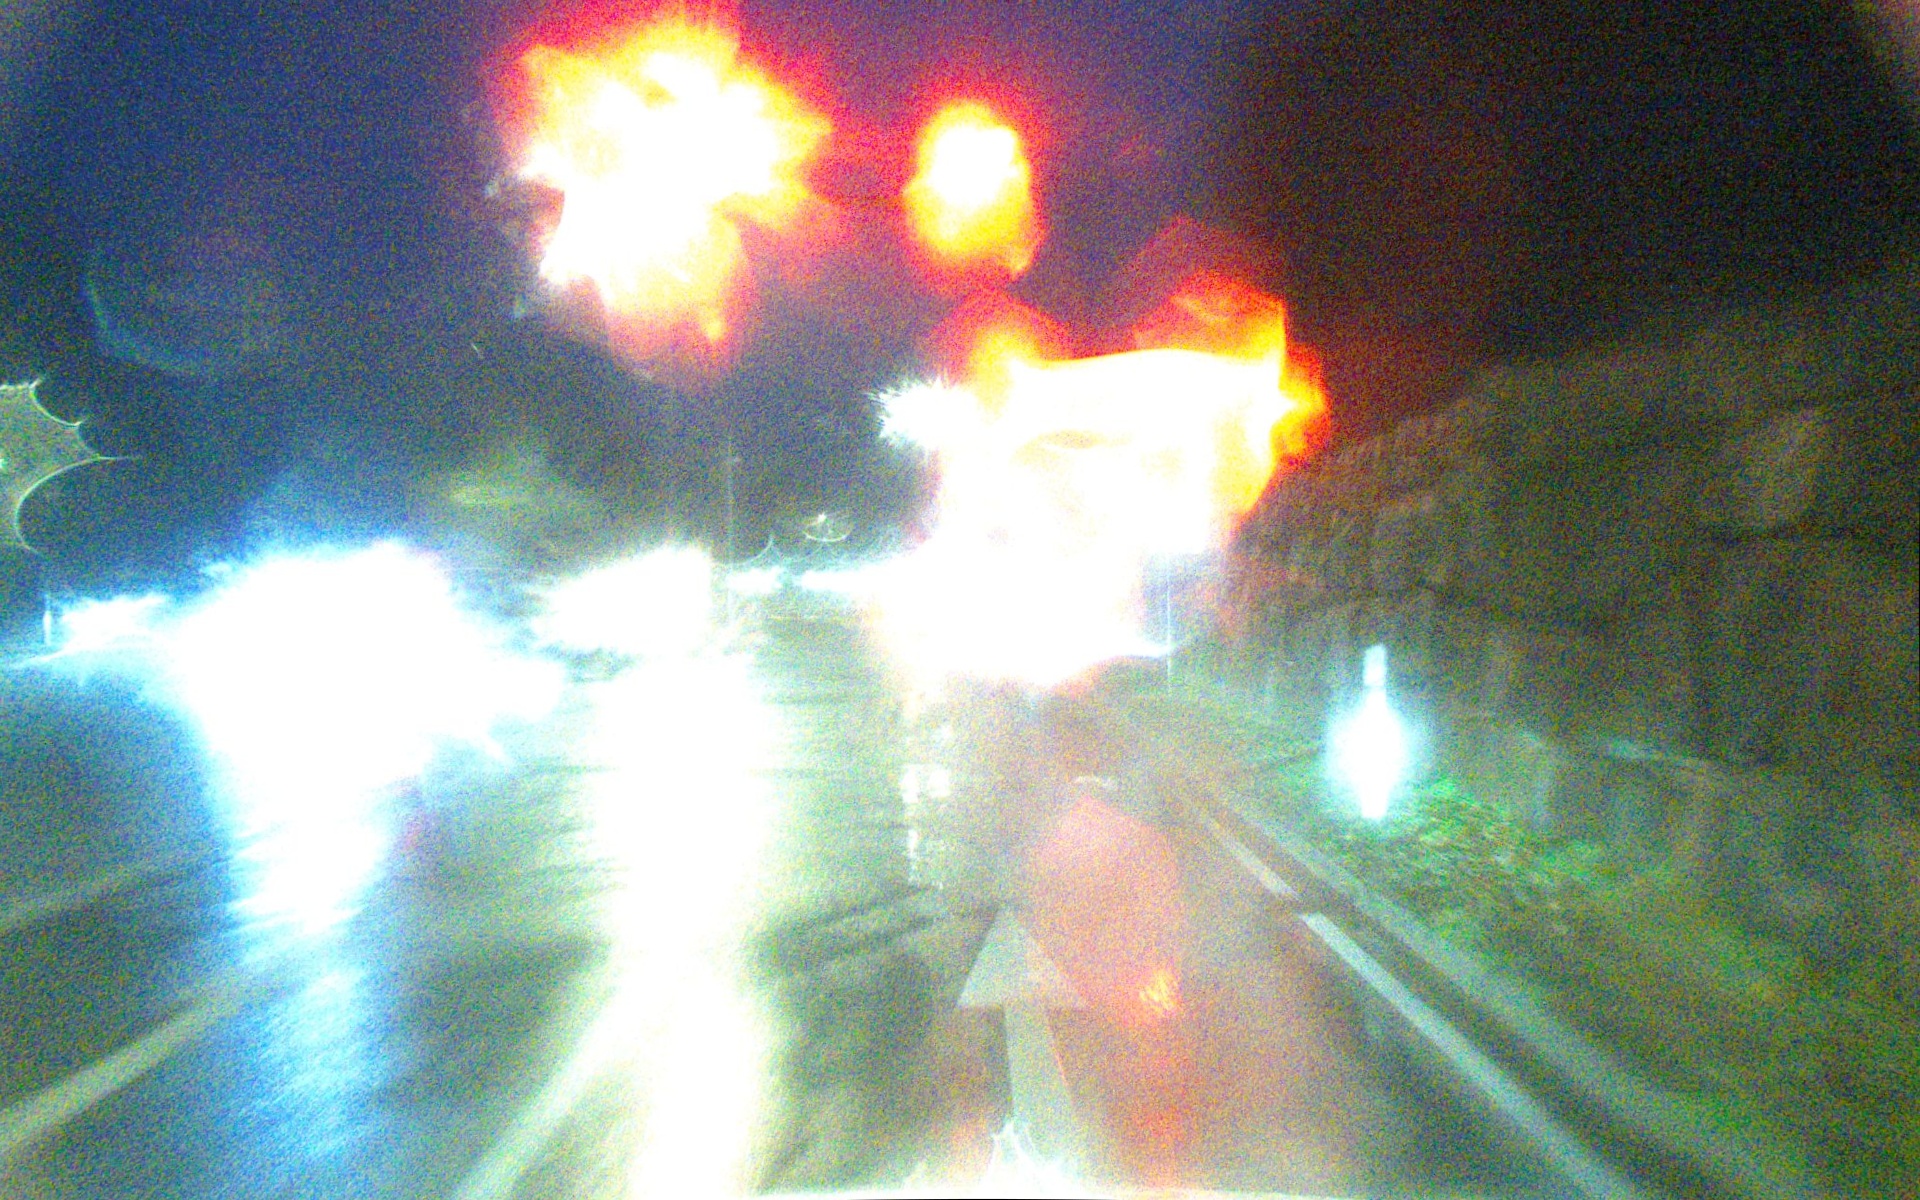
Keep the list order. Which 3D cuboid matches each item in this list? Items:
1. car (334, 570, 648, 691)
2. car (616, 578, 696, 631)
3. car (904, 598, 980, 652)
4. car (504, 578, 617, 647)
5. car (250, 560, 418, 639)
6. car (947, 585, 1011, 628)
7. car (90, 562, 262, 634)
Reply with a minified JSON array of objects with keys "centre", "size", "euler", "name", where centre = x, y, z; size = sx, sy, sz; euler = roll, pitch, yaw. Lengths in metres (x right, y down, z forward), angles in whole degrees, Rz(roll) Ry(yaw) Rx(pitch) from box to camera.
[{"centre":[-6.874,0.436,24.393],"size":[4.058,1.639,1.974],"euler":[1,-1,-37],"name":"car"},{"centre":[-9.278,0.141,50.763],"size":[1.552,1.552,3.653],"euler":[0,-1,4],"name":"car"},{"centre":[-0.481,0.689,46.581],"size":[2.060,1.464,4.000],"euler":[0,0,0],"name":"car"},{"centre":[-9.879,0.274,41.261],"size":[1.664,1.599,4.712],"euler":[0,0,0],"name":"car"},{"centre":[-13.508,-0.025,36.007],"size":[1.755,1.599,4.914],"euler":[0,0,0],"name":"car"},{"centre":[0.628,0.231,55.630],"size":[2.063,1.363,4.294],"euler":[0,0,0],"name":"car"},{"centre":[-21.140,-0.085,44.643],"size":[3.957,1.863,1.699],"euler":[-1,1,-37],"name":"car"}]
